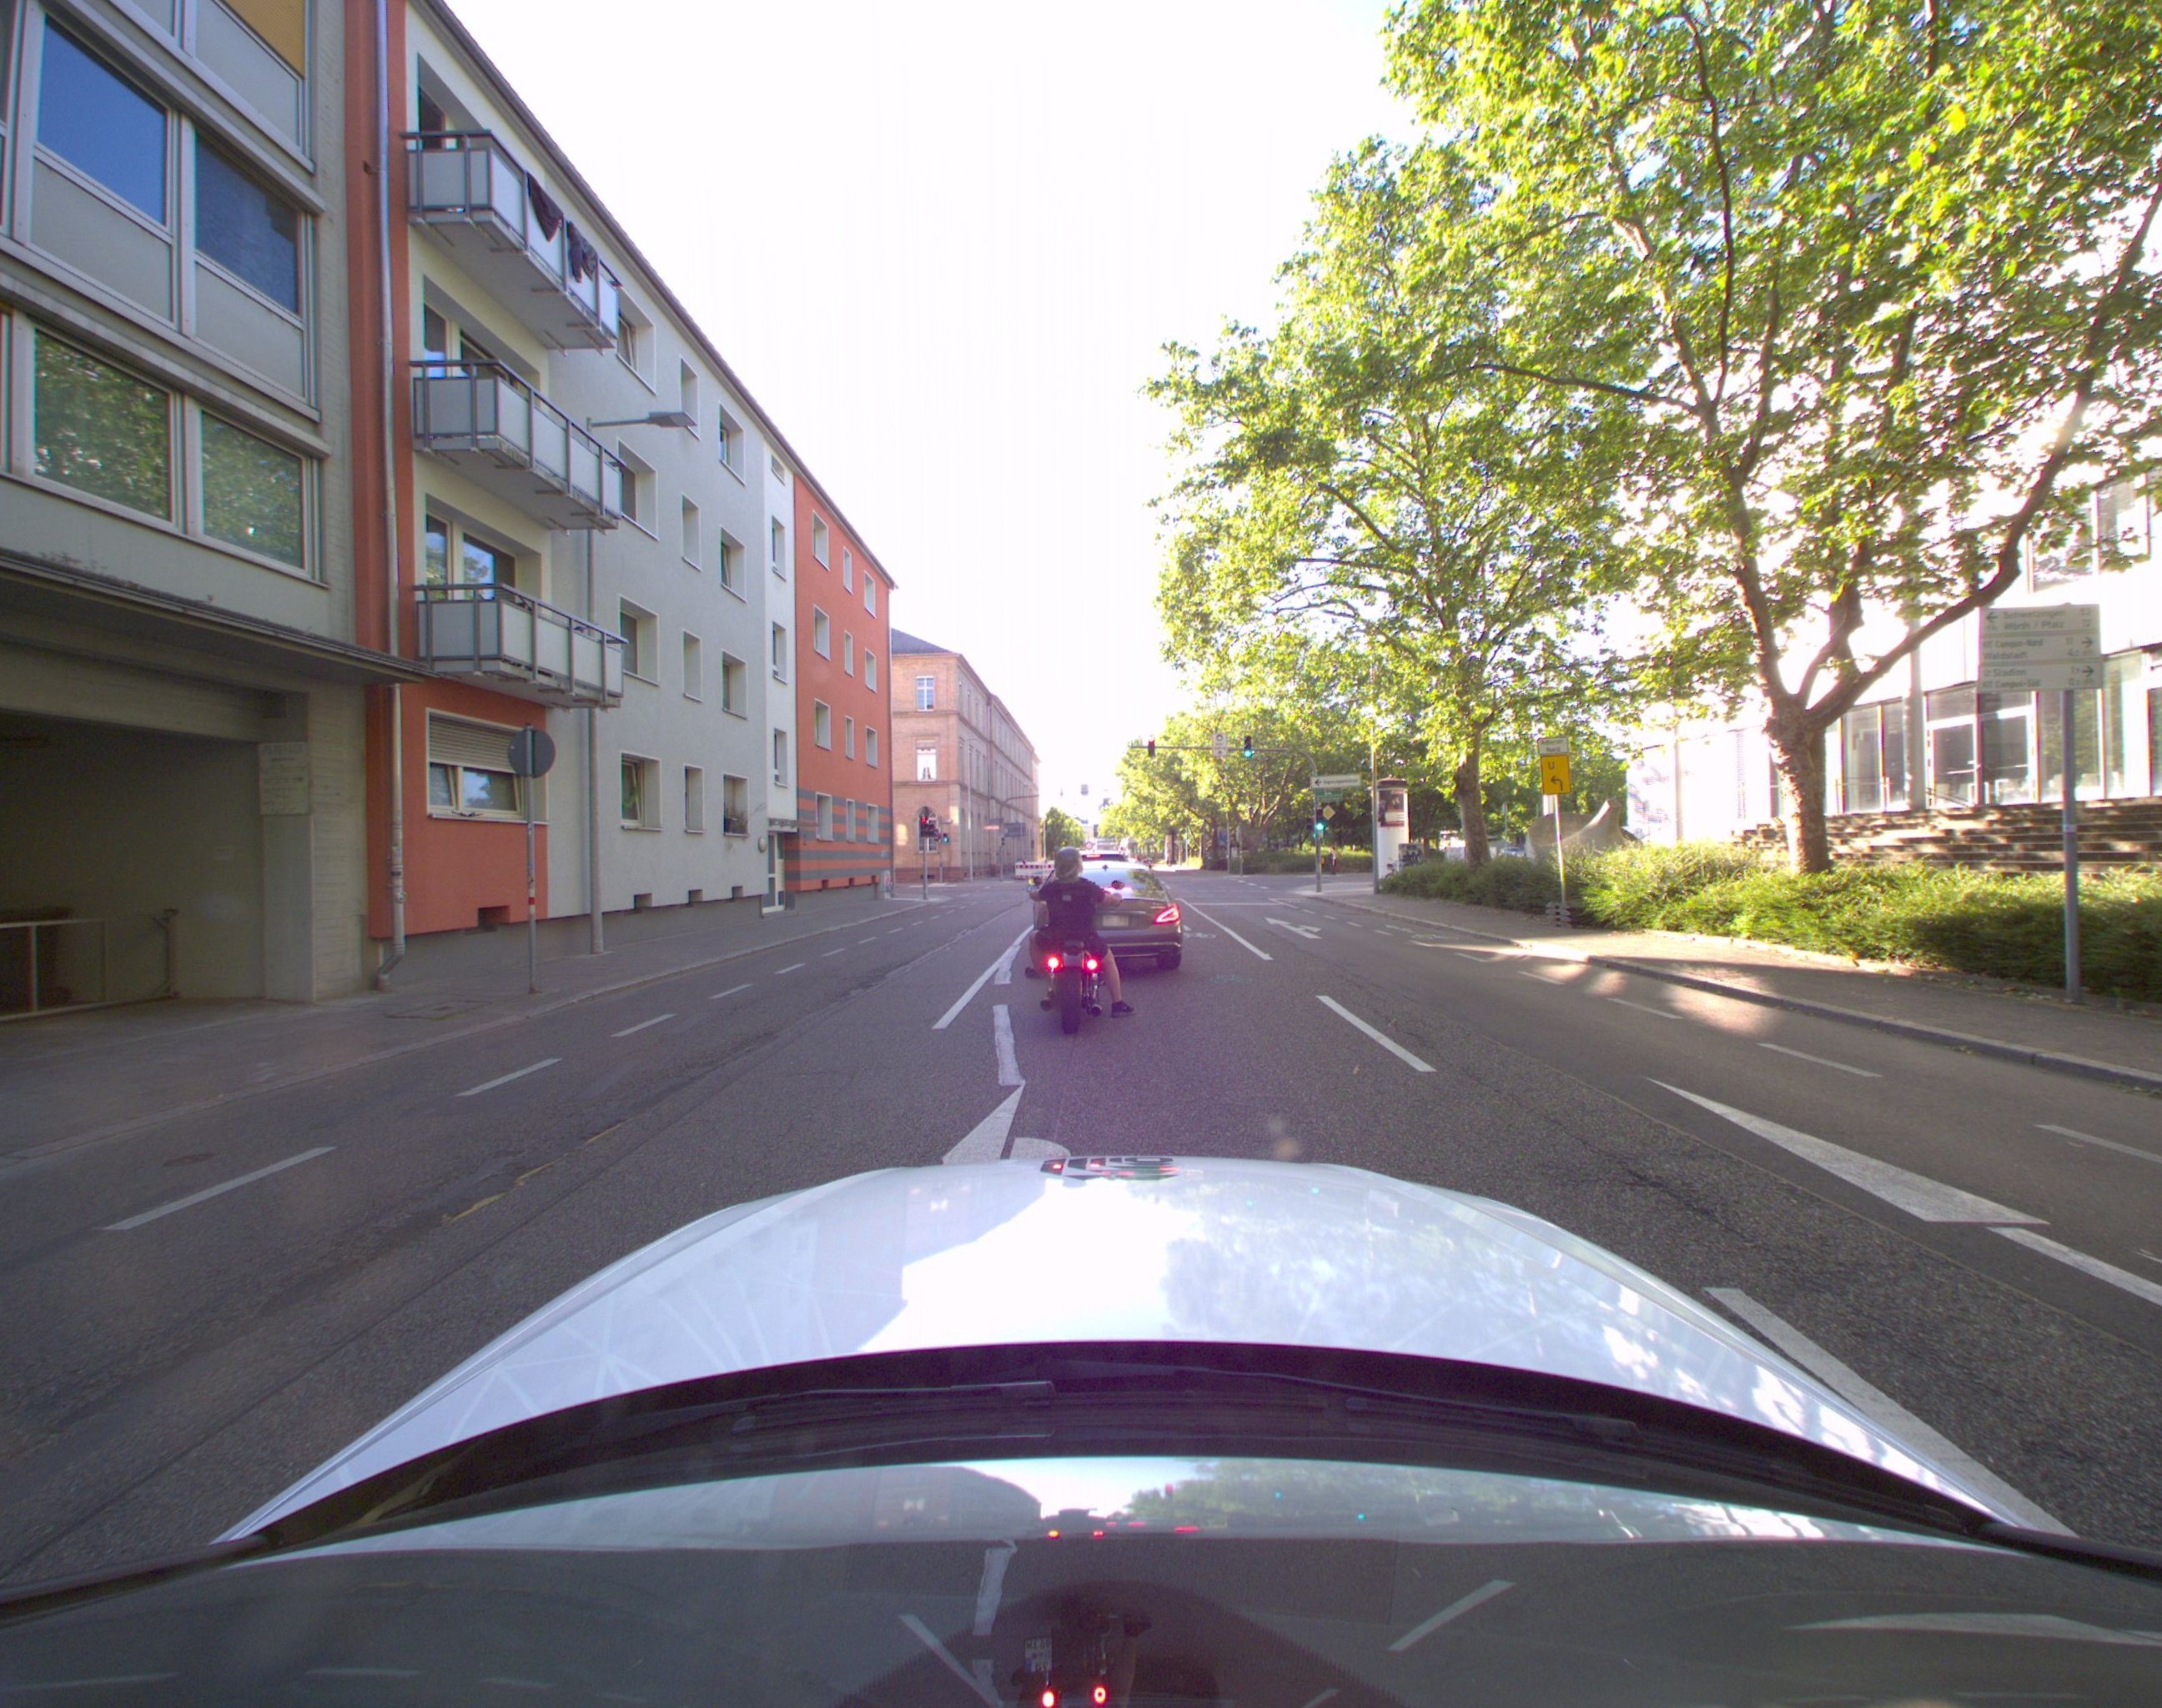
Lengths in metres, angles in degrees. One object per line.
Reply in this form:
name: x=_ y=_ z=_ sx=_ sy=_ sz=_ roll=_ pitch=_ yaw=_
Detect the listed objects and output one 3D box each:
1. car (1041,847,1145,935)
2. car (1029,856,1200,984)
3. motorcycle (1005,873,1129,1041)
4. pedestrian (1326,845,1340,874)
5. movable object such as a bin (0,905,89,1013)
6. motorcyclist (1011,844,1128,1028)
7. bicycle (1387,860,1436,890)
car: x=0.292 y=0.728 z=17.683 sx=1.986 sy=1.665 sz=4.001 roll=0 pitch=-1 yaw=2
car: x=0.266 y=0.776 z=11.756 sx=1.867 sy=1.444 sz=4.421 roll=-1 pitch=0 yaw=-6
motorcycle: x=-0.076 y=0.861 z=7.773 sx=0.977 sy=1.275 sz=2.408 roll=-1 pitch=0 yaw=2
pedestrian: x=15.602 y=0.332 z=50.325 sx=0.671 sy=1.772 sz=0.621 roll=-1 pitch=-1 yaw=31
movable object such as a bin: x=-11.286 y=1.099 z=8.658 sx=0.639 sy=1.065 sz=0.675 roll=-1 pitch=0 yaw=1
motorcyclist: x=-0.081 y=0.708 z=7.691 sx=0.977 sy=1.578 sz=1.249 roll=-1 pitch=0 yaw=1
bicycle: x=11.082 y=0.710 z=27.333 sx=1.475 sy=0.980 sz=0.300 roll=0 pitch=-1 yaw=7
